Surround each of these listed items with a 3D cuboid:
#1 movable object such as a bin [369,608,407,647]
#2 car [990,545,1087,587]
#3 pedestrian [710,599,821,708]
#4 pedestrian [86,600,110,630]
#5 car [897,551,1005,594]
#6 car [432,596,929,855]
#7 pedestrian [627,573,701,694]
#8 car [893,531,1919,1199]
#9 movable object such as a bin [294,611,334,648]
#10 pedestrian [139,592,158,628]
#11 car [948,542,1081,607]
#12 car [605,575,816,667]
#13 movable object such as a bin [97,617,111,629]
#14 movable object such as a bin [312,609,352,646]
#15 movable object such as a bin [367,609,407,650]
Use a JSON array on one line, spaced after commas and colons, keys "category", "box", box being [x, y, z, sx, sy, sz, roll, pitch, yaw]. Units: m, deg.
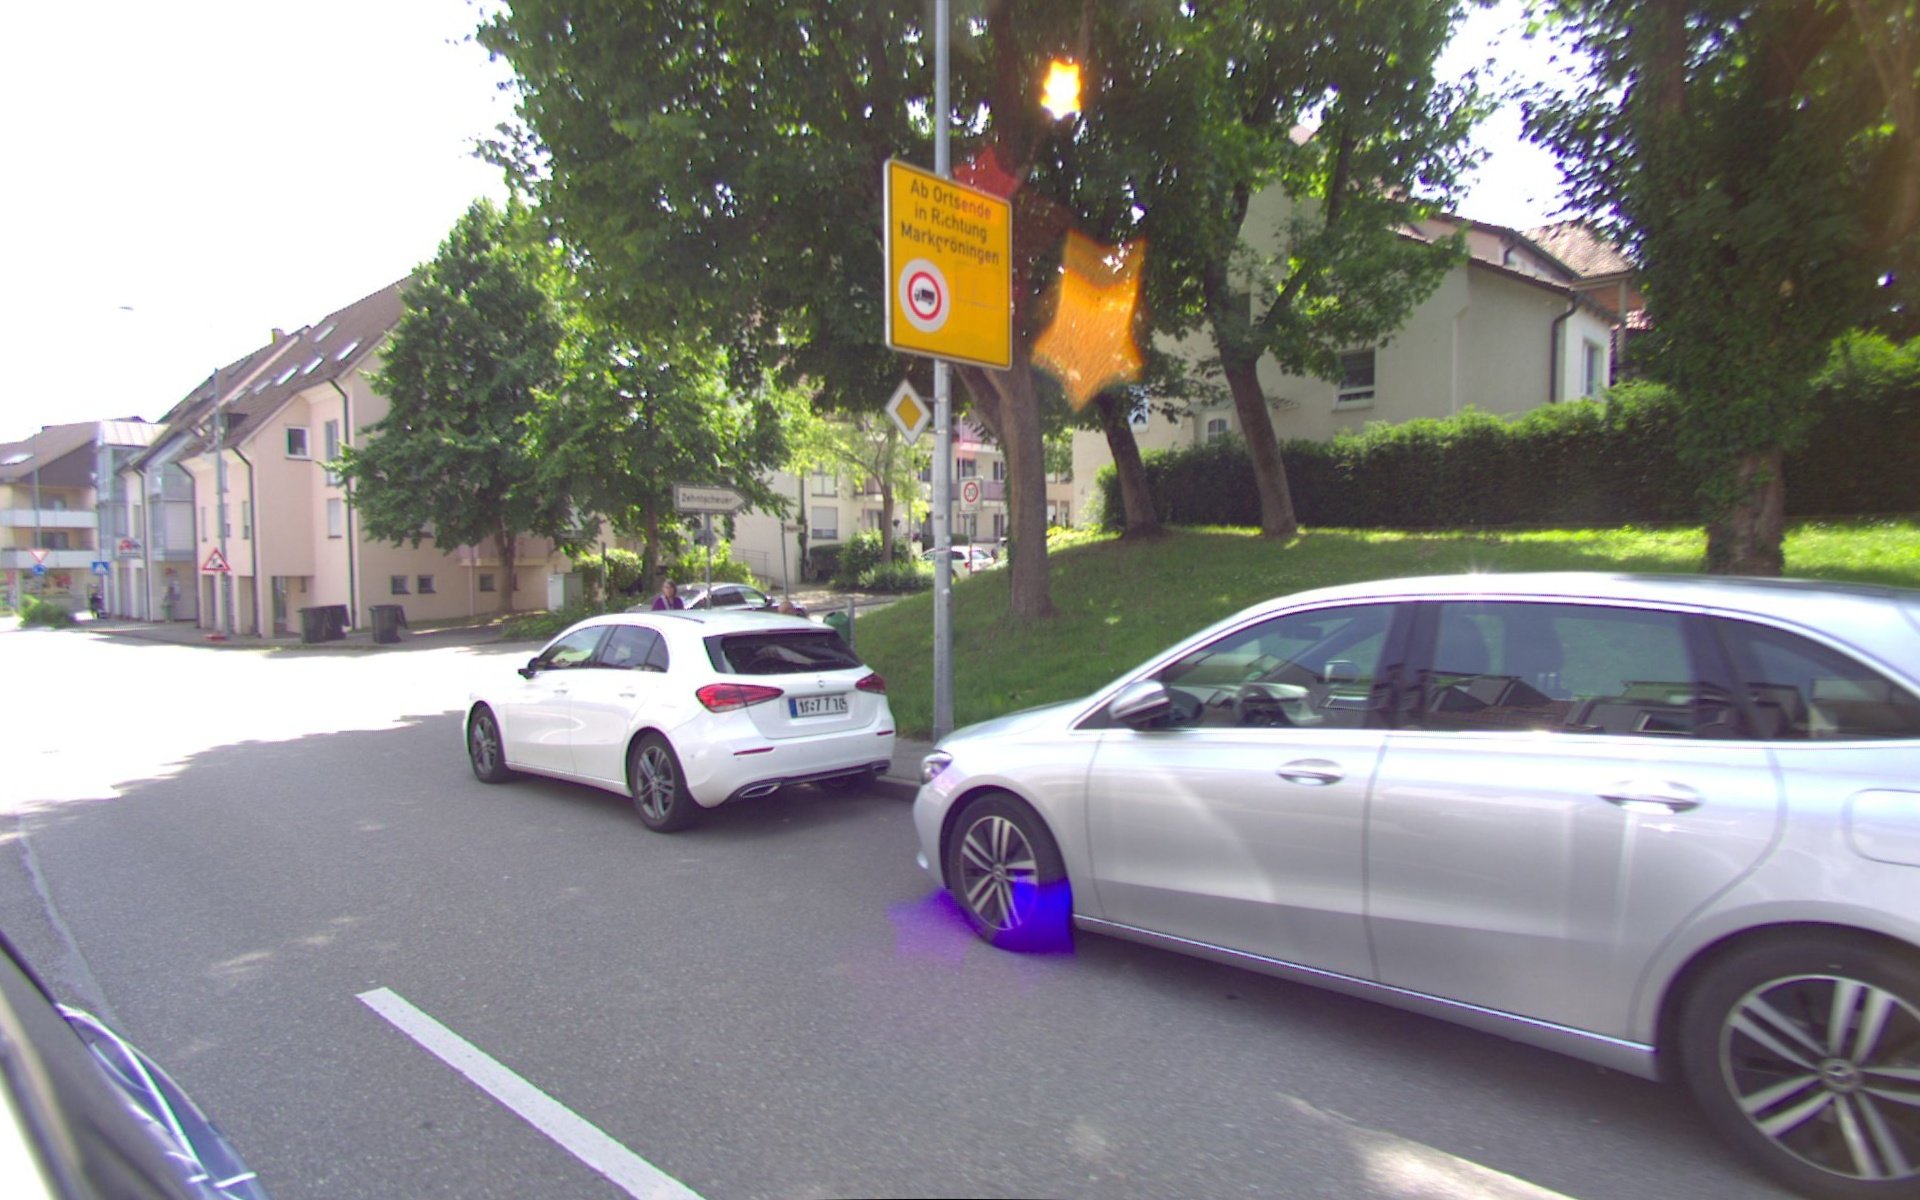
[{"category": "movable object such as a bin", "box": [-16.467, 0.776, 29.141, 0.763, 1.007, 0.609, -8, 7, -44]}, {"category": "car", "box": [3.489, -1.488, 45.420, 4.002, 1.723, 1.971, -1, 0, 45]}, {"category": "pedestrian", "box": [-2.542, 0.669, 13.280, 1.222, 1.278, 0.647, -5, 3, -43]}, {"category": "pedestrian", "box": [-45.536, 0.785, 53.454, 0.957, 1.489, 0.792, 0, 3, 41]}, {"category": "car", "box": [-0.415, -1.098, 40.943, 4.148, 1.579, 1.971, -1, 2, 44]}, {"category": "car", "box": [-2.398, 0.736, 7.910, 4.363, 1.478, 1.735, -1, 0, 43]}, {"category": "pedestrian", "box": [-4.135, 0.454, 14.167, 0.625, 1.628, 0.727, -1, 2, 24]}, {"category": "car", "box": [1.806, 0.627, 3.776, 4.223, 1.538, 1.752, -1, 0, 45]}, {"category": "movable object such as a bin", "box": [-18.807, 0.845, 29.458, 0.841, 1.008, 0.694, -3, 2, -44]}, {"category": "pedestrian", "box": [-39.333, 0.478, 49.059, 0.569, 1.721, 0.580, -5, 4, -45]}, {"category": "car", "box": [1.775, -0.838, 32.158, 3.941, 1.696, 1.911, -8, 5, -43]}, {"category": "car", "box": [-5.381, 0.380, 22.590, 1.989, 1.490, 4.753, -1, 5, 25]}, {"category": "movable object such as a bin", "box": [-45.135, 1.222, 53.355, 0.468, 0.586, 0.453, 0, 3, 41]}, {"category": "movable object such as a bin", "box": [-18.557, 0.801, 29.904, 0.791, 1.007, 0.805, -6, 4, -44]}, {"category": "movable object such as a bin", "box": [-16.106, 0.823, 28.445, 0.763, 1.007, 0.610, -8, 9, -43]}]
